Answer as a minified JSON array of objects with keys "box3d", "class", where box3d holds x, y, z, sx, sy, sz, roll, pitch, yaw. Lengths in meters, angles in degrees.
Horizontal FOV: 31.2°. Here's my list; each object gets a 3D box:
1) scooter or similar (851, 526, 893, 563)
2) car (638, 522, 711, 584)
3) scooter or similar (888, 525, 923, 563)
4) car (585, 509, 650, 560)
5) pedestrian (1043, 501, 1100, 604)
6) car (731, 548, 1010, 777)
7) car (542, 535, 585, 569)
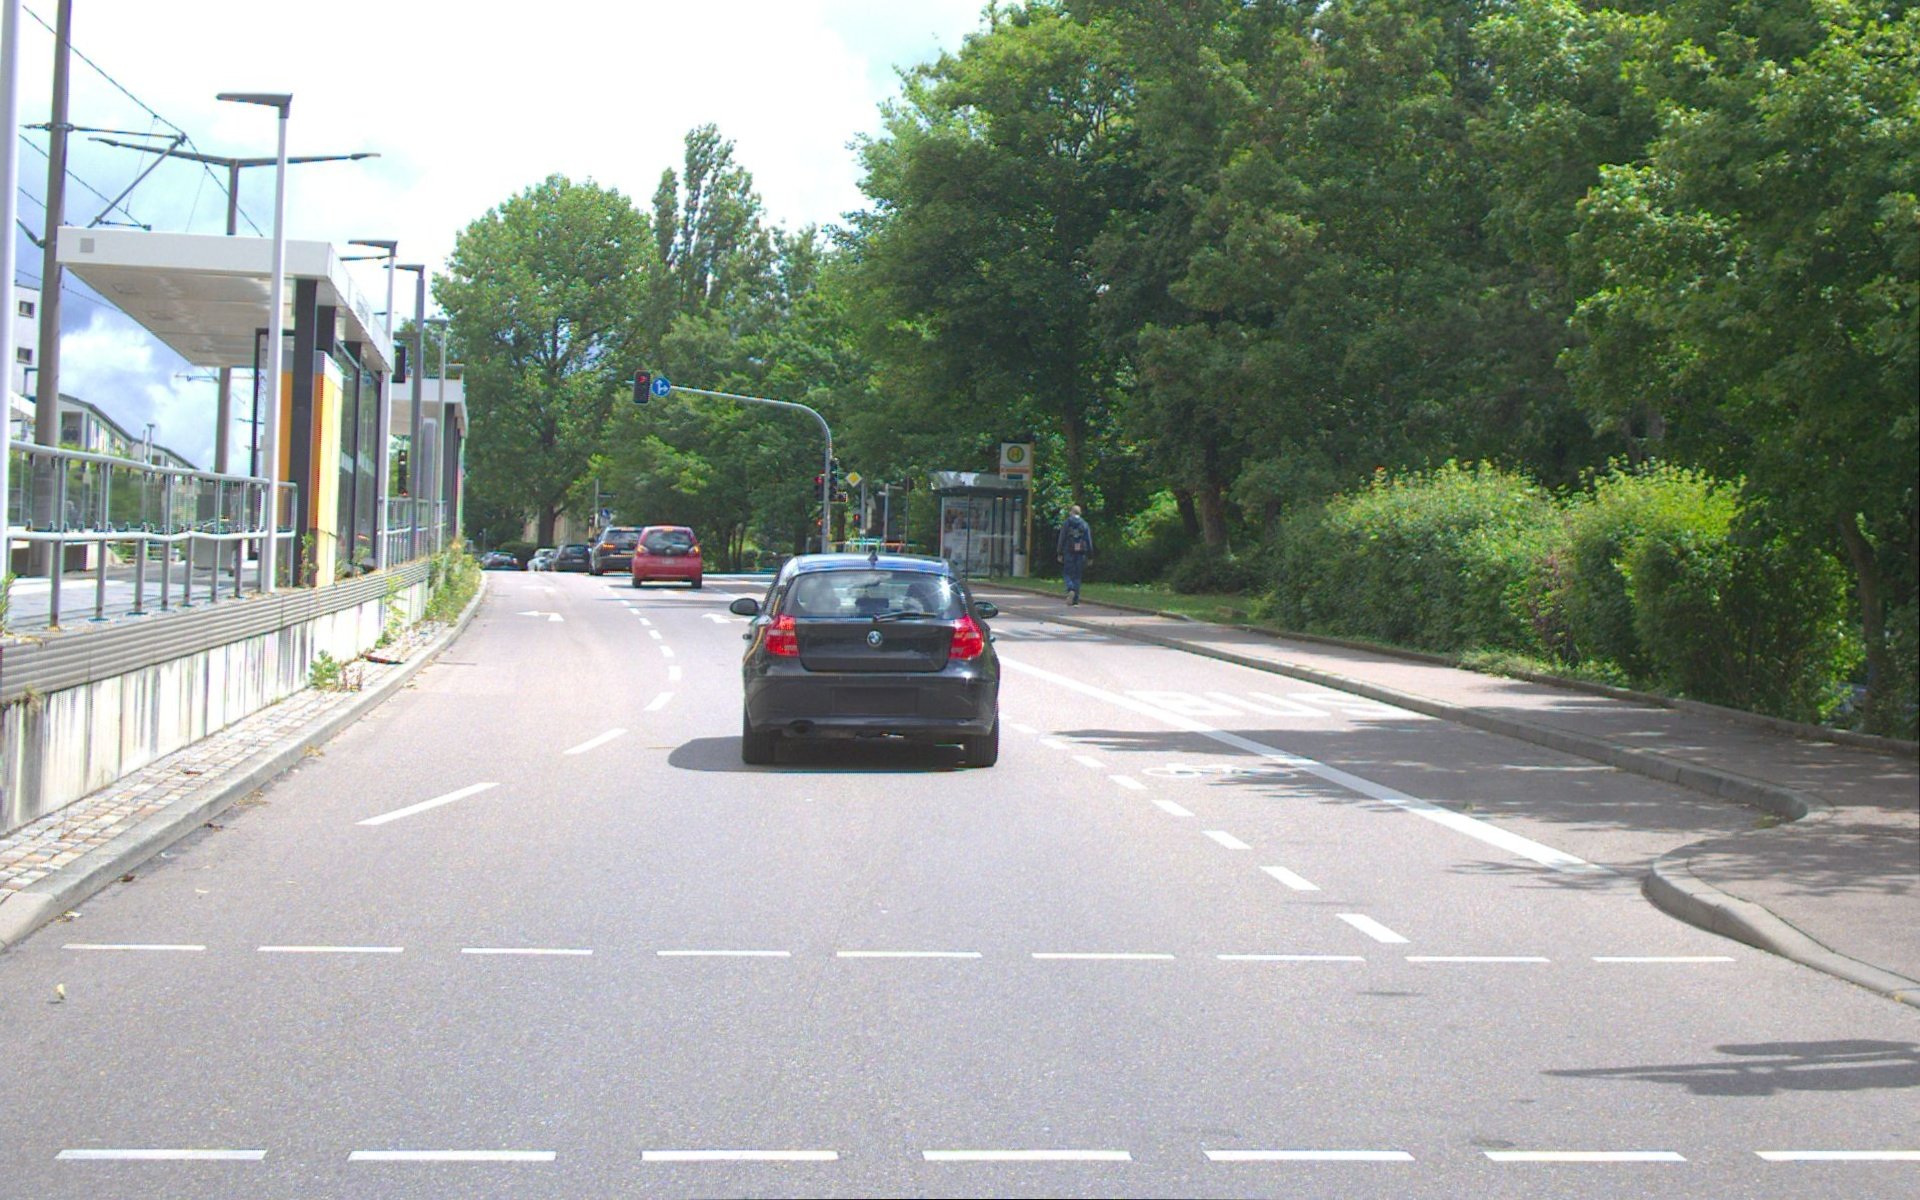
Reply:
[{"box3d":[-2.897,-1.822,113.283,1.287,1.185,0.385,1,1,-23],"class":"scooter or similar"},{"box3d":[-6.812,-1.138,81.767,1.594,1.414,3.518,1,1,-7],"class":"car"},{"box3d":[-1.808,-1.850,114.212,1.106,1.253,0.332,1,1,-19],"class":"scooter or similar"},{"box3d":[-9.939,-1.902,99.646,1.654,1.414,3.518,1,1,-9],"class":"car"},{"box3d":[2.098,-0.896,64.616,0.801,1.889,1.271,3,1,-6],"class":"pedestrian"},{"box3d":[-0.687,0.375,23.782,1.654,1.414,3.518,1,1,-6],"class":"car"},{"box3d":[-17.561,-2.129,152.451,1.654,1.414,3.517,2,1,-3],"class":"car"}]
